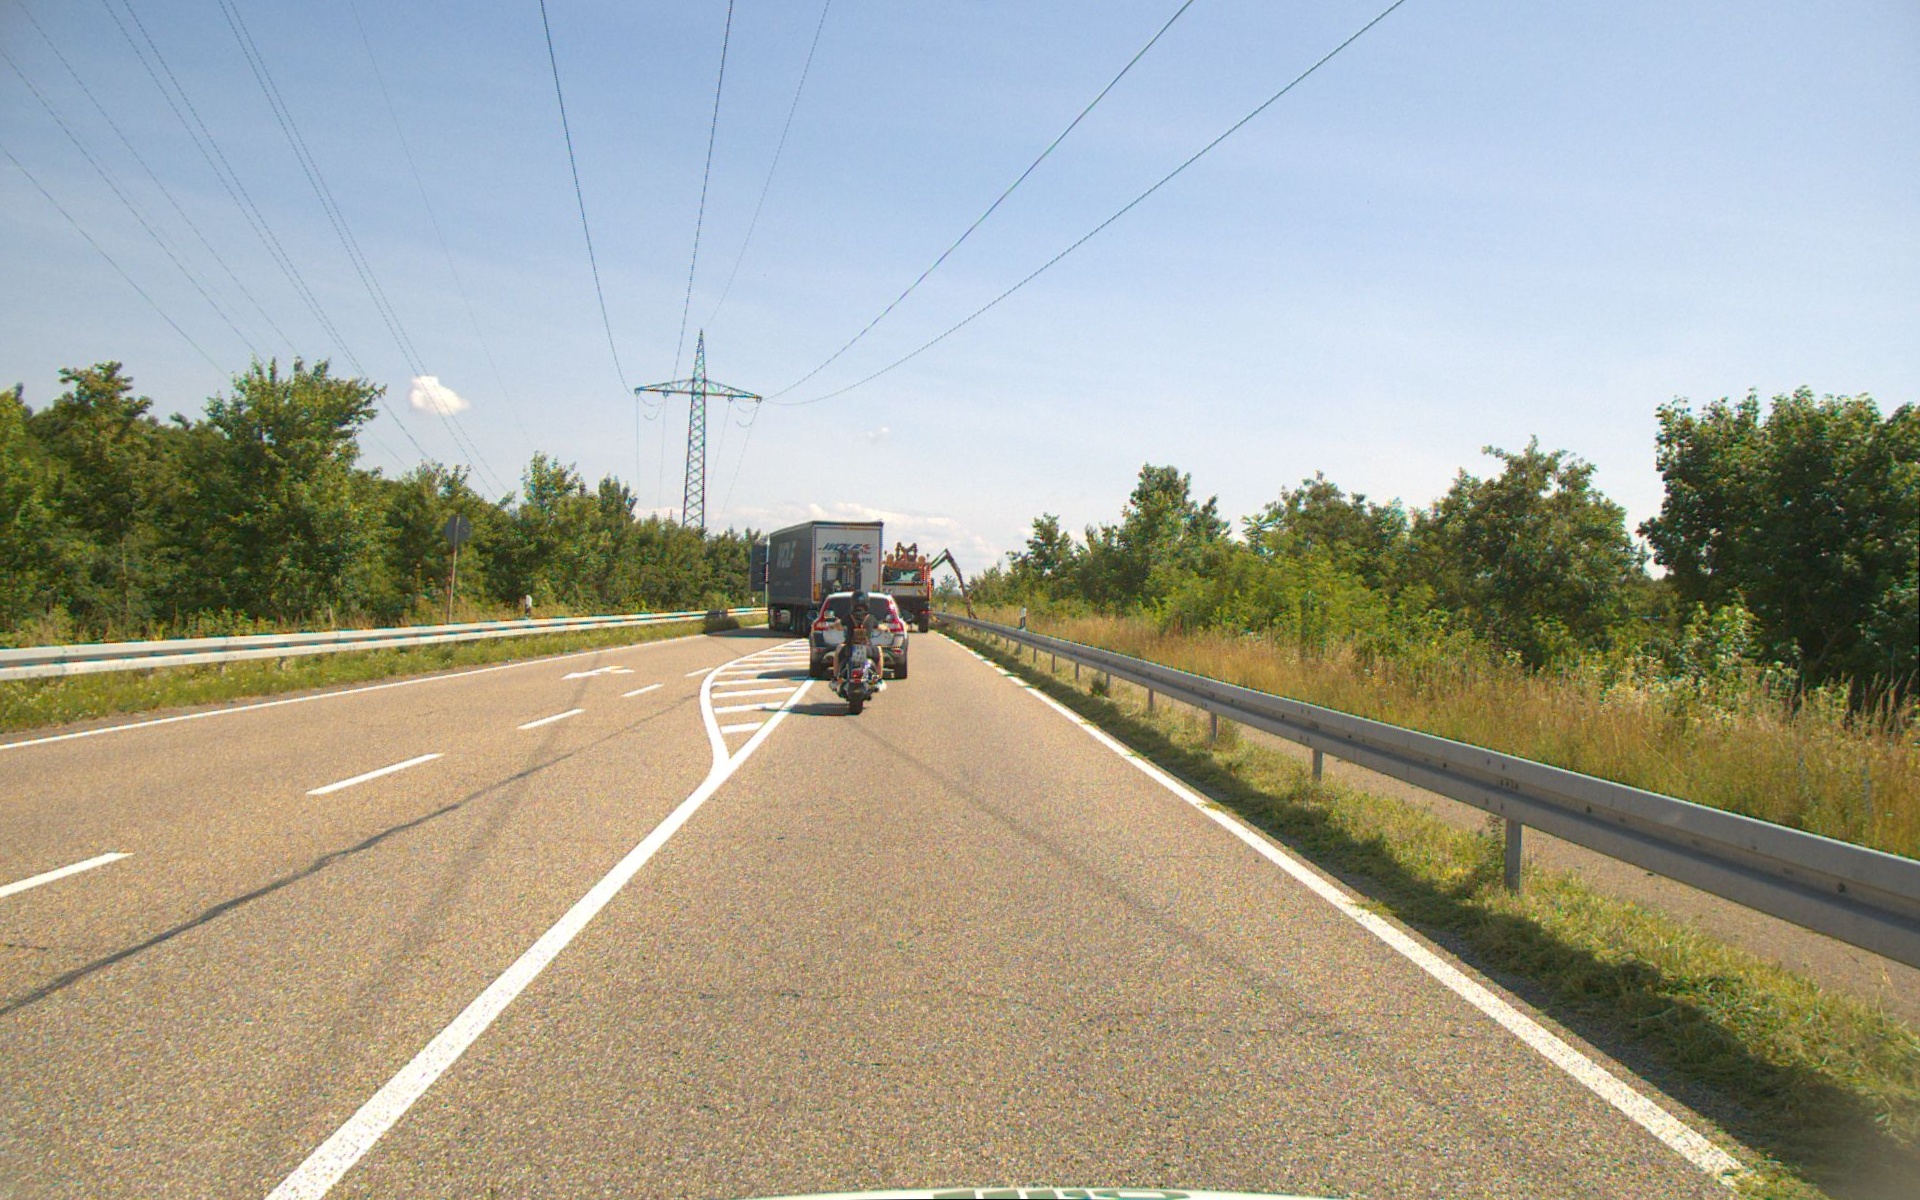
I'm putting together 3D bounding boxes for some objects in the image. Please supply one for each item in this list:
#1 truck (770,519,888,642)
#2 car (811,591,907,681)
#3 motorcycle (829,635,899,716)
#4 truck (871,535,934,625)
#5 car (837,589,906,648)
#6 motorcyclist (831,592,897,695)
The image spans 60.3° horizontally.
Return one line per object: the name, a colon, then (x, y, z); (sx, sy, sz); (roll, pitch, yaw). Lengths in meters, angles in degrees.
truck: (-5.419, -0.727, 65.168); (2.915, 4.260, 14.781); (1, 0, -11)
car: (-1.914, 0.632, 30.971); (1.667, 1.563, 3.496); (1, 0, -4)
motorcycle: (-1.263, 0.959, 21.479); (0.842, 0.931, 2.226); (1, 0, -4)
truck: (-2.604, -0.855, 73.130); (2.562, 3.776, 6.773); (1, 0, -3)
car: (-2.475, 0.487, 46.367); (1.818, 1.516, 3.738); (1, 0, -3)
motorcyclist: (-1.256, 0.550, 21.580); (0.821, 1.303, 0.918); (1, 0, -5)
